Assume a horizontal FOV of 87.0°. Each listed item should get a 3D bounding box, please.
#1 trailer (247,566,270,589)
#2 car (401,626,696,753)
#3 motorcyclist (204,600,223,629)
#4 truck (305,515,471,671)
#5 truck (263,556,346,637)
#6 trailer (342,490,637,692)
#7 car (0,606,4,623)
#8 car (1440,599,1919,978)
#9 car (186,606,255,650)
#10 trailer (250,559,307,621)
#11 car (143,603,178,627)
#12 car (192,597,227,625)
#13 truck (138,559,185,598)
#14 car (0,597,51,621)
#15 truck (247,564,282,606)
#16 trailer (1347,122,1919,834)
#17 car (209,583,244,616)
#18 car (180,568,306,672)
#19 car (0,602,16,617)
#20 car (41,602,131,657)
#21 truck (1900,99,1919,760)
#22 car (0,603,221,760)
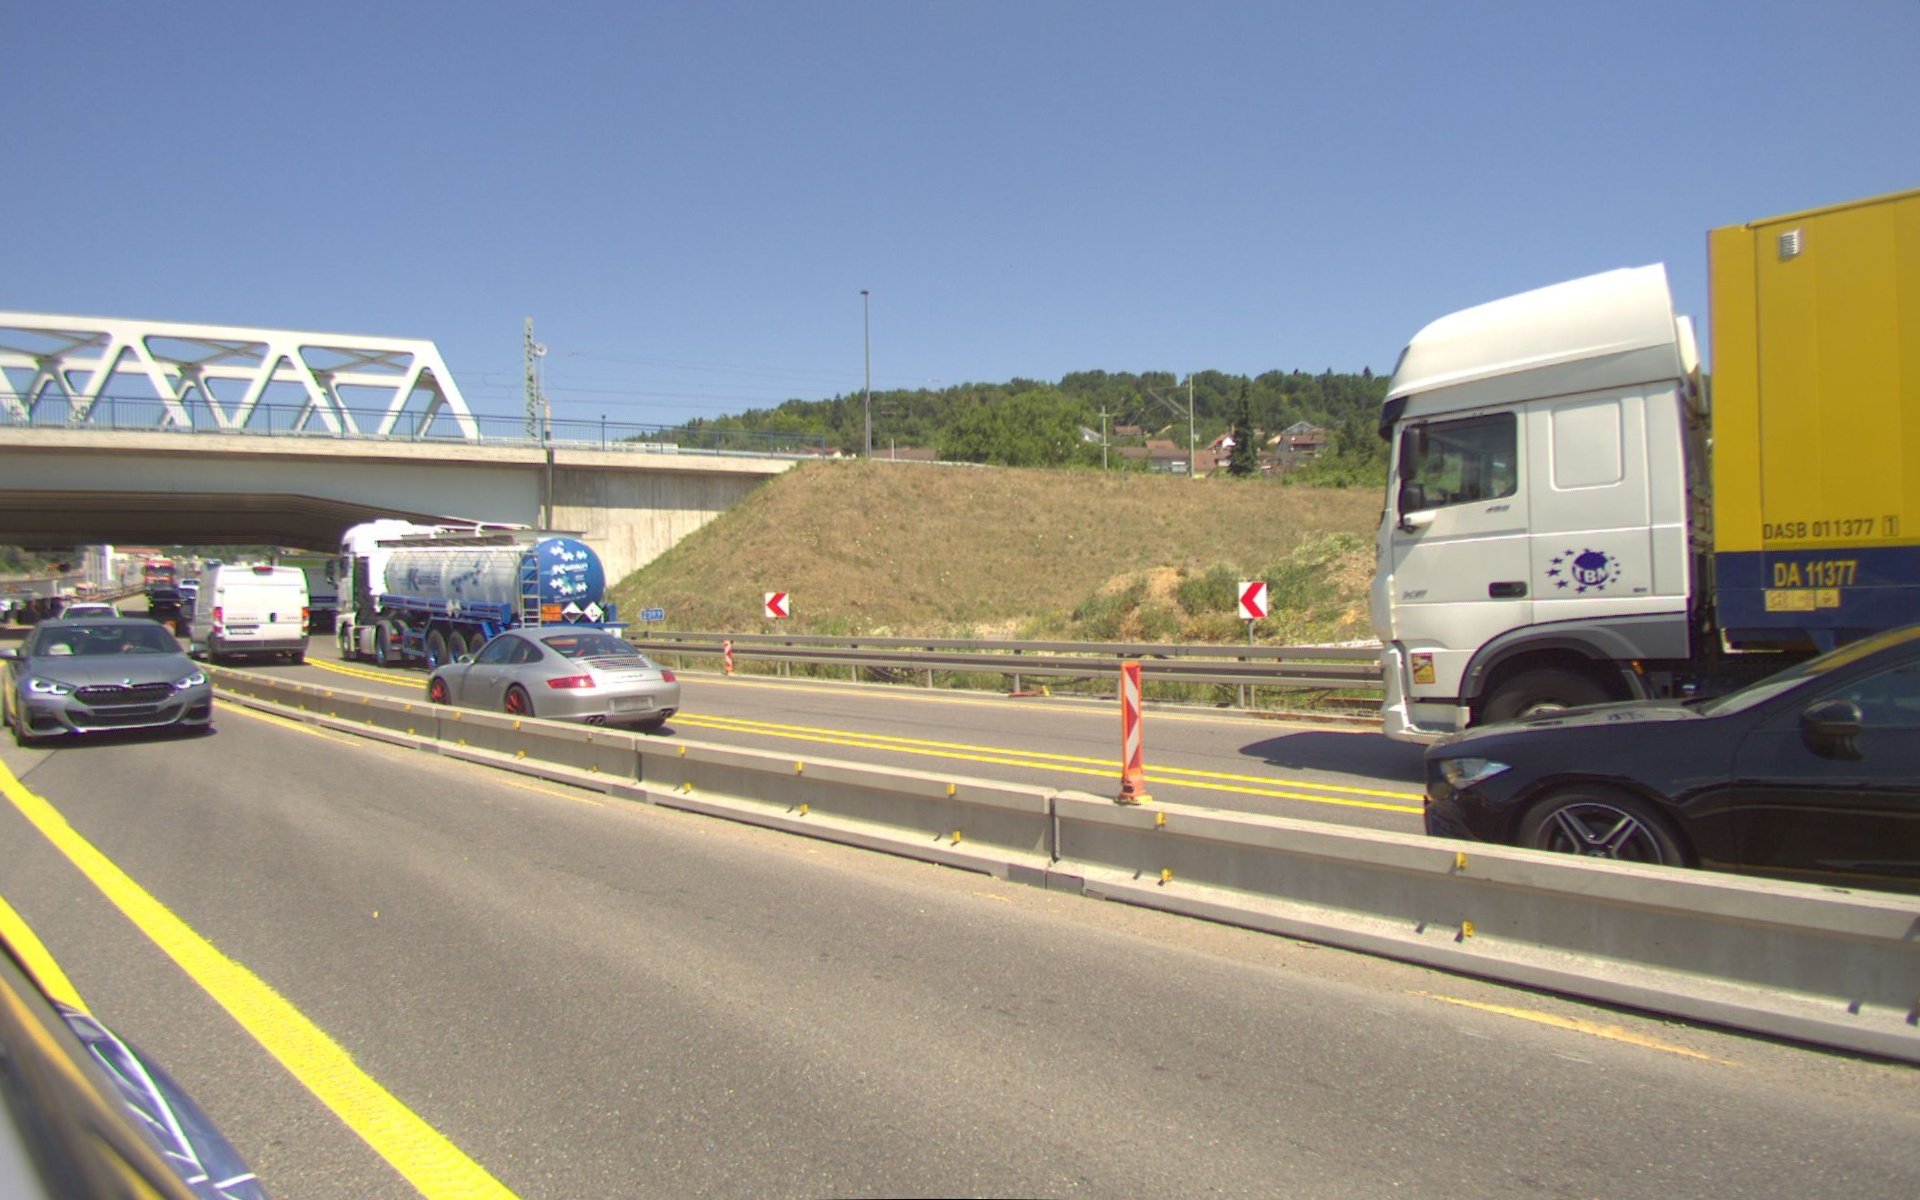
[{"bbox_3d":[-125.704,-4.113,181.424,2.619,3.844,11.858,0,2,-30],"label":"trailer"},{"bbox_3d":[-5.260,1.013,12.646,4.334,1.274,1.659,-2,-1,41],"label":"car"},{"bbox_3d":[-38.113,0.746,51.670,0.800,1.427,0.744,0,2,-37],"label":"motorcyclist"},{"bbox_3d":[-15.690,-0.194,27.631,4.950,3.850,2.506,0,1,43],"label":"truck"},{"bbox_3d":[-32.103,-0.182,49.405,2.780,3.602,8.516,0,0,-37],"label":"truck"},{"bbox_3d":[-11.316,-0.193,23.541,10.245,3.817,2.498,0,1,43],"label":"trailer"},{"bbox_3d":[-110.308,1.707,113.080,4.726,1.782,1.724,-2,2,-35],"label":"car"},{"bbox_3d":[4.520,0.676,3.935,4.501,1.372,1.659,-2,-1,41],"label":"car"},{"bbox_3d":[-26.716,0.965,36.491,1.821,1.475,4.532,0,0,-38],"label":"car"},{"bbox_3d":[-49.285,-0.719,73.016,2.839,4.070,14.392,-2,2,-36],"label":"trailer"},{"bbox_3d":[-54.935,1.034,69.516,1.774,1.563,4.006,0,0,-41],"label":"car"},{"bbox_3d":[-47.208,0.657,63.737,1.723,1.683,4.088,0,0,-36],"label":"car"},{"bbox_3d":[-86.950,-2.386,110.321,3.408,4.077,10.238,0,2,-35],"label":"truck"},{"bbox_3d":[-112.336,1.128,120.206,2.054,2.600,6.222,-1,3,41],"label":"car"},{"bbox_3d":[-76.585,-1.750,111.284,2.732,4.345,13.523,0,2,-36],"label":"truck"},{"bbox_3d":[6.094,-0.722,7.658,5.218,4.261,2.835,-1,-1,43],"label":"trailer"},{"bbox_3d":[-55.440,-0.076,76.554,1.954,2.347,6.074,0,1,-34],"label":"car"},{"bbox_3d":[-19.608,0.479,27.525,2.046,2.522,6.492,0,0,-42],"label":"car"},{"bbox_3d":[-111.284,1.162,116.352,3.812,1.698,1.696,-3,3,-40],"label":"car"},{"bbox_3d":[-28.223,0.890,32.796,1.809,1.484,4.400,0,2,-36],"label":"car"},{"bbox_3d":[12.423,-1.108,1.942,15.368,4.375,2.777,-1,-1,42],"label":"truck"},{"bbox_3d":[-10.966,0.863,12.757,4.388,1.609,1.814,0,0,42],"label":"car"}]
